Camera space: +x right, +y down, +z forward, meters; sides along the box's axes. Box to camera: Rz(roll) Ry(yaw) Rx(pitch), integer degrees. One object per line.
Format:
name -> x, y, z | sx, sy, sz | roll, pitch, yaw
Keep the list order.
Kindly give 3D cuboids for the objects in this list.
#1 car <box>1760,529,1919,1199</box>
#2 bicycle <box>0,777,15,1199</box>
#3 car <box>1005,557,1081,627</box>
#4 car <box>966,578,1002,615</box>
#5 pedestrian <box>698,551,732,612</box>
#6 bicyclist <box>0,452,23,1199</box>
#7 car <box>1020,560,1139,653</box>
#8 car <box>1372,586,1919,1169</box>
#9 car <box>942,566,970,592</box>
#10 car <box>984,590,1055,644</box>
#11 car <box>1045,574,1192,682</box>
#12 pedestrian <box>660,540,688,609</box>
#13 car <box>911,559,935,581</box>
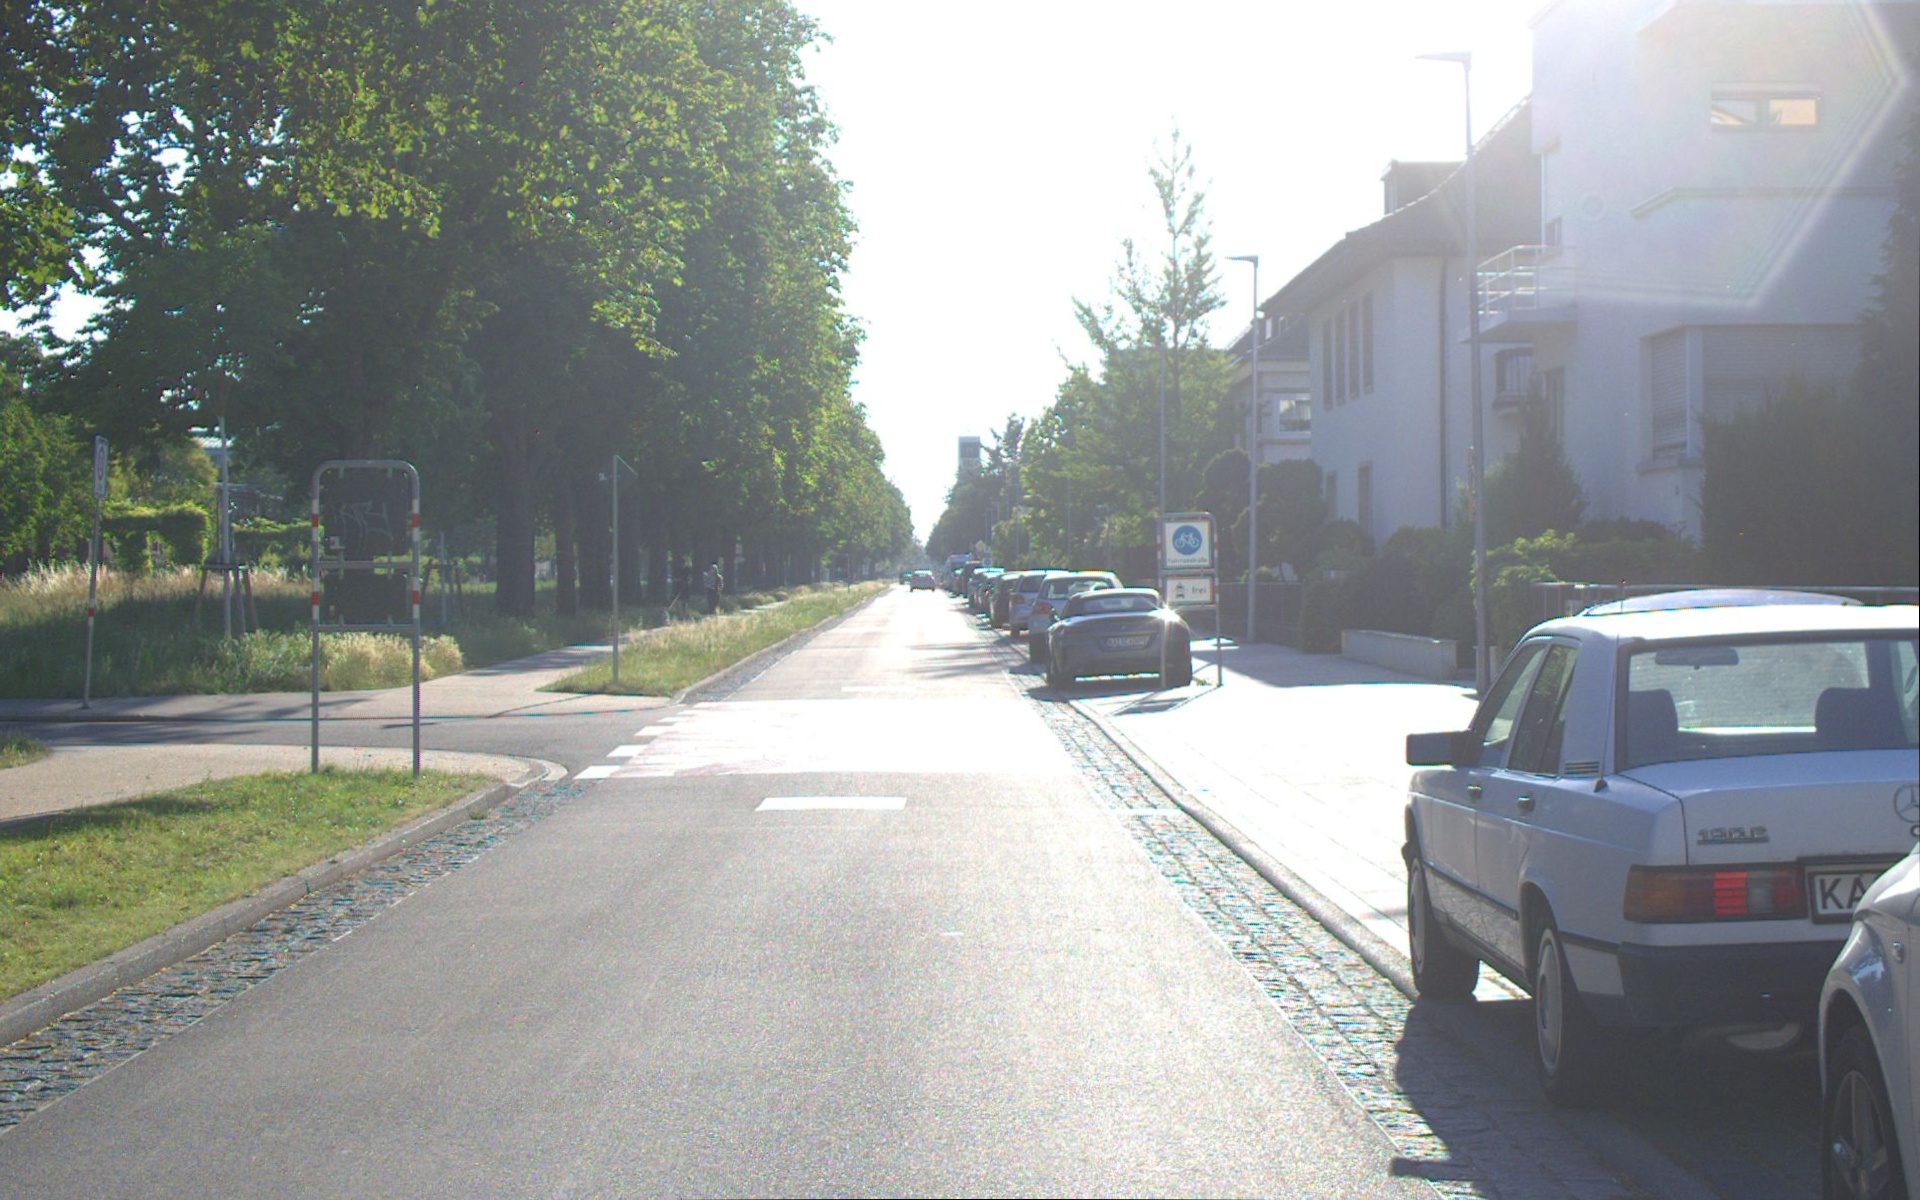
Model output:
car -> 2.469, 0.642, 4.935 | 1.678, 1.550, 4.130 | -1, 1, 1
bicycle -> -2.407, 0.918, 6.827 | 0.556, 1.028, 1.915 | -1, 0, -1
car -> 1.879, -0.198, 78.919 | 1.627, 1.499, 3.633 | -2, 1, 0
car -> 1.023, -0.170, 146.511 | 1.498, 1.561, 3.266 | 0, 0, 1
pedestrian -> -6.545, -0.503, 91.735 | 0.783, 1.609, 0.952 | 0, 1, 3
bicyclist -> -2.422, 0.513, 7.042 | 0.681, 1.667, 1.172 | -1, 0, -1
car -> 2.019, 0.092, 59.072 | 1.744, 1.469, 3.922 | -3, 1, -2
car -> 2.353, 0.679, 10.721 | 1.563, 1.385, 4.374 | -1, 1, 0
car -> -0.235, -1.257, 209.120 | 1.652, 1.536, 3.266 | 1, 0, 1
car -> 1.620, 0.465, 95.457 | 1.736, 1.444, 4.197 | -2, 0, -2
car -> 2.155, 0.355, 47.621 | 1.774, 1.284, 4.273 | -3, 1, 0
pedestrian -> -7.603, -0.682, 91.283 | 0.624, 1.825, 0.886 | 0, 1, 3
car -> -2.672, -2.148, 247.417 | 1.652, 1.536, 3.266 | 1, 0, 0
